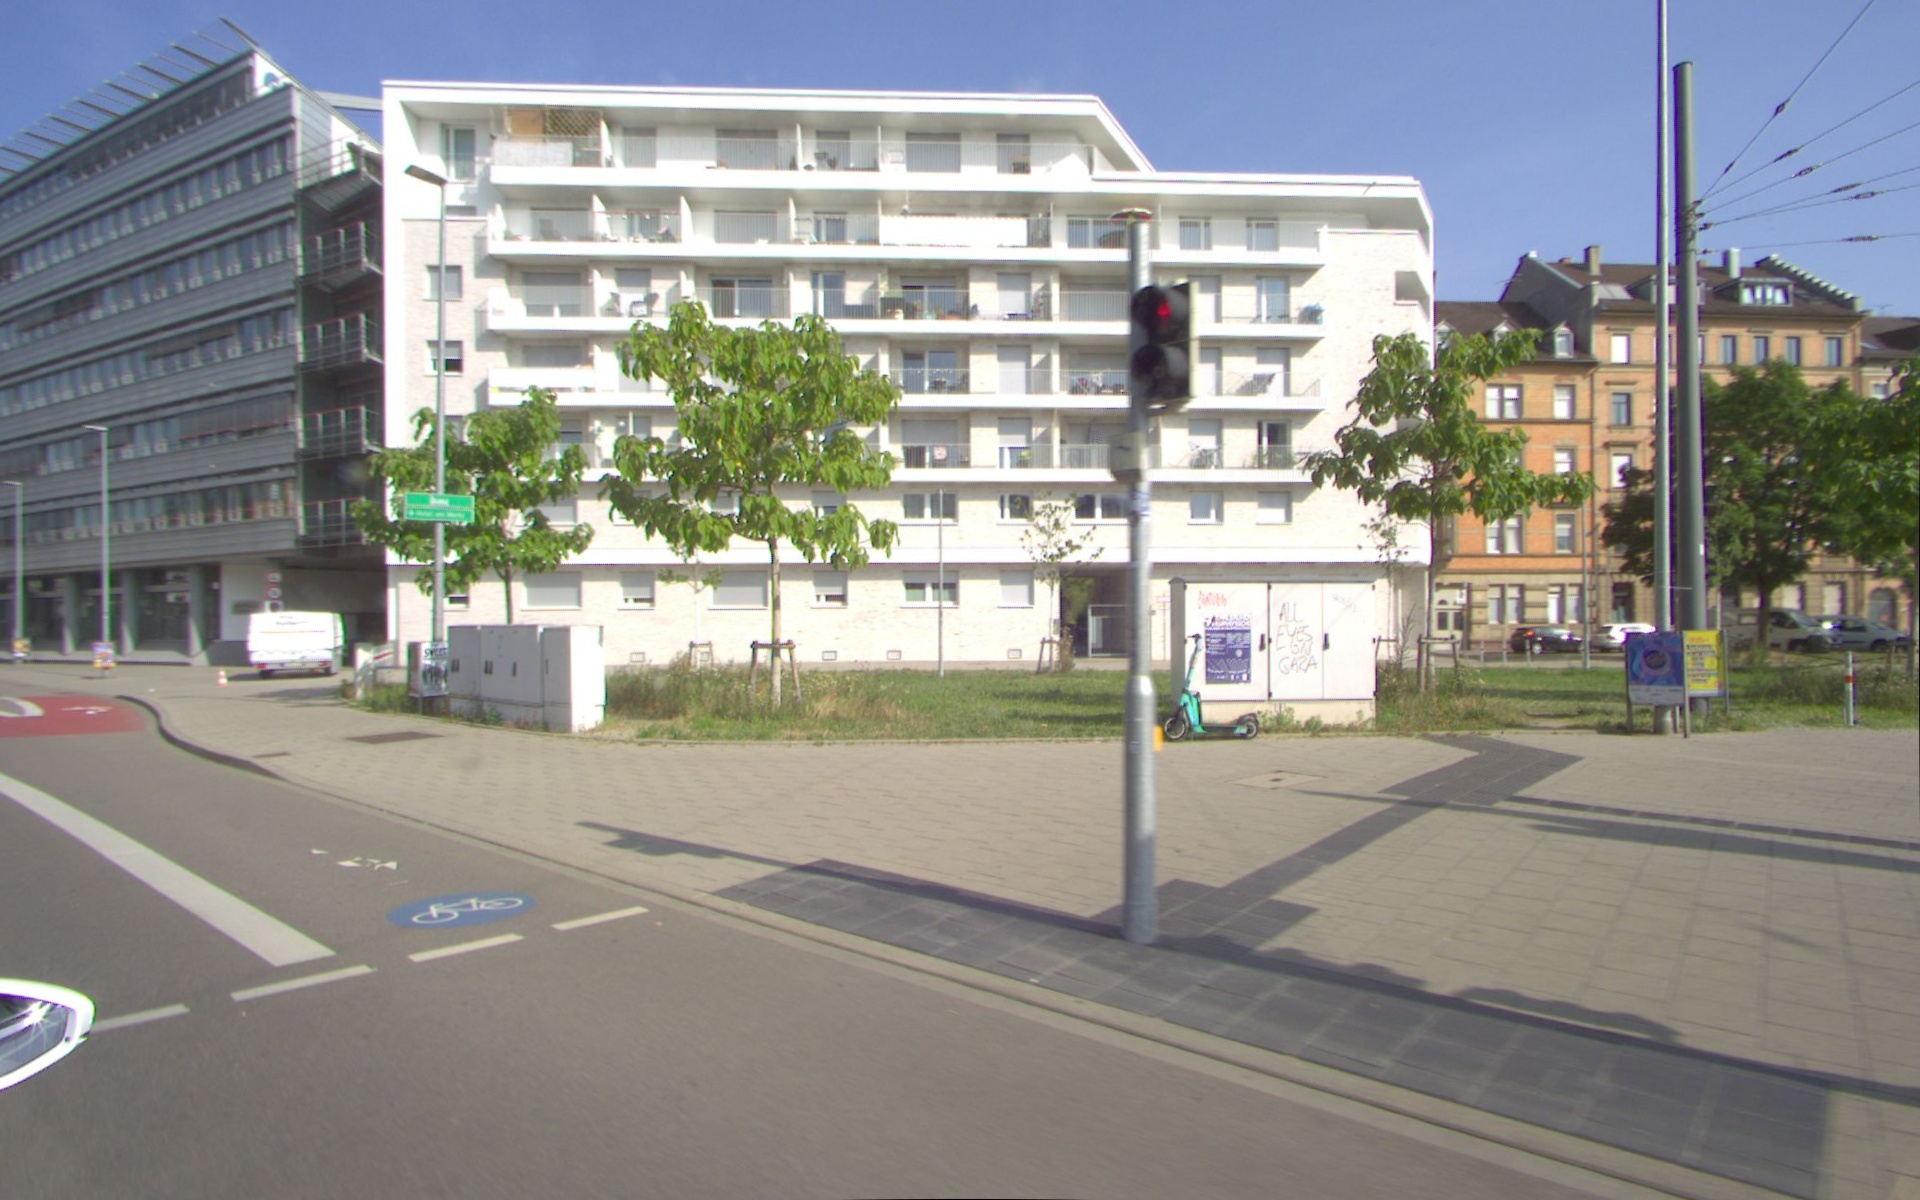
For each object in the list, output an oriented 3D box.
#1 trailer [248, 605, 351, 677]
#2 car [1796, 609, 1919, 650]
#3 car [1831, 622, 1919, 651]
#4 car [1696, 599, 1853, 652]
[{"bbox_3d":[-22.071,1.326,33.695,2.361,2.179,5.922,0,-1,-28],"label":"trailer"},{"bbox_3d":[39.180,1.288,43.593,1.858,1.728,3.955,1,-2,-38],"label":"car"},{"bbox_3d":[41.269,1.602,44.333,1.701,1.265,3.827,1,-2,-38],"label":"car"},{"bbox_3d":[35.665,1.128,44.016,1.854,2.206,5.021,0,-2,-31],"label":"car"}]
